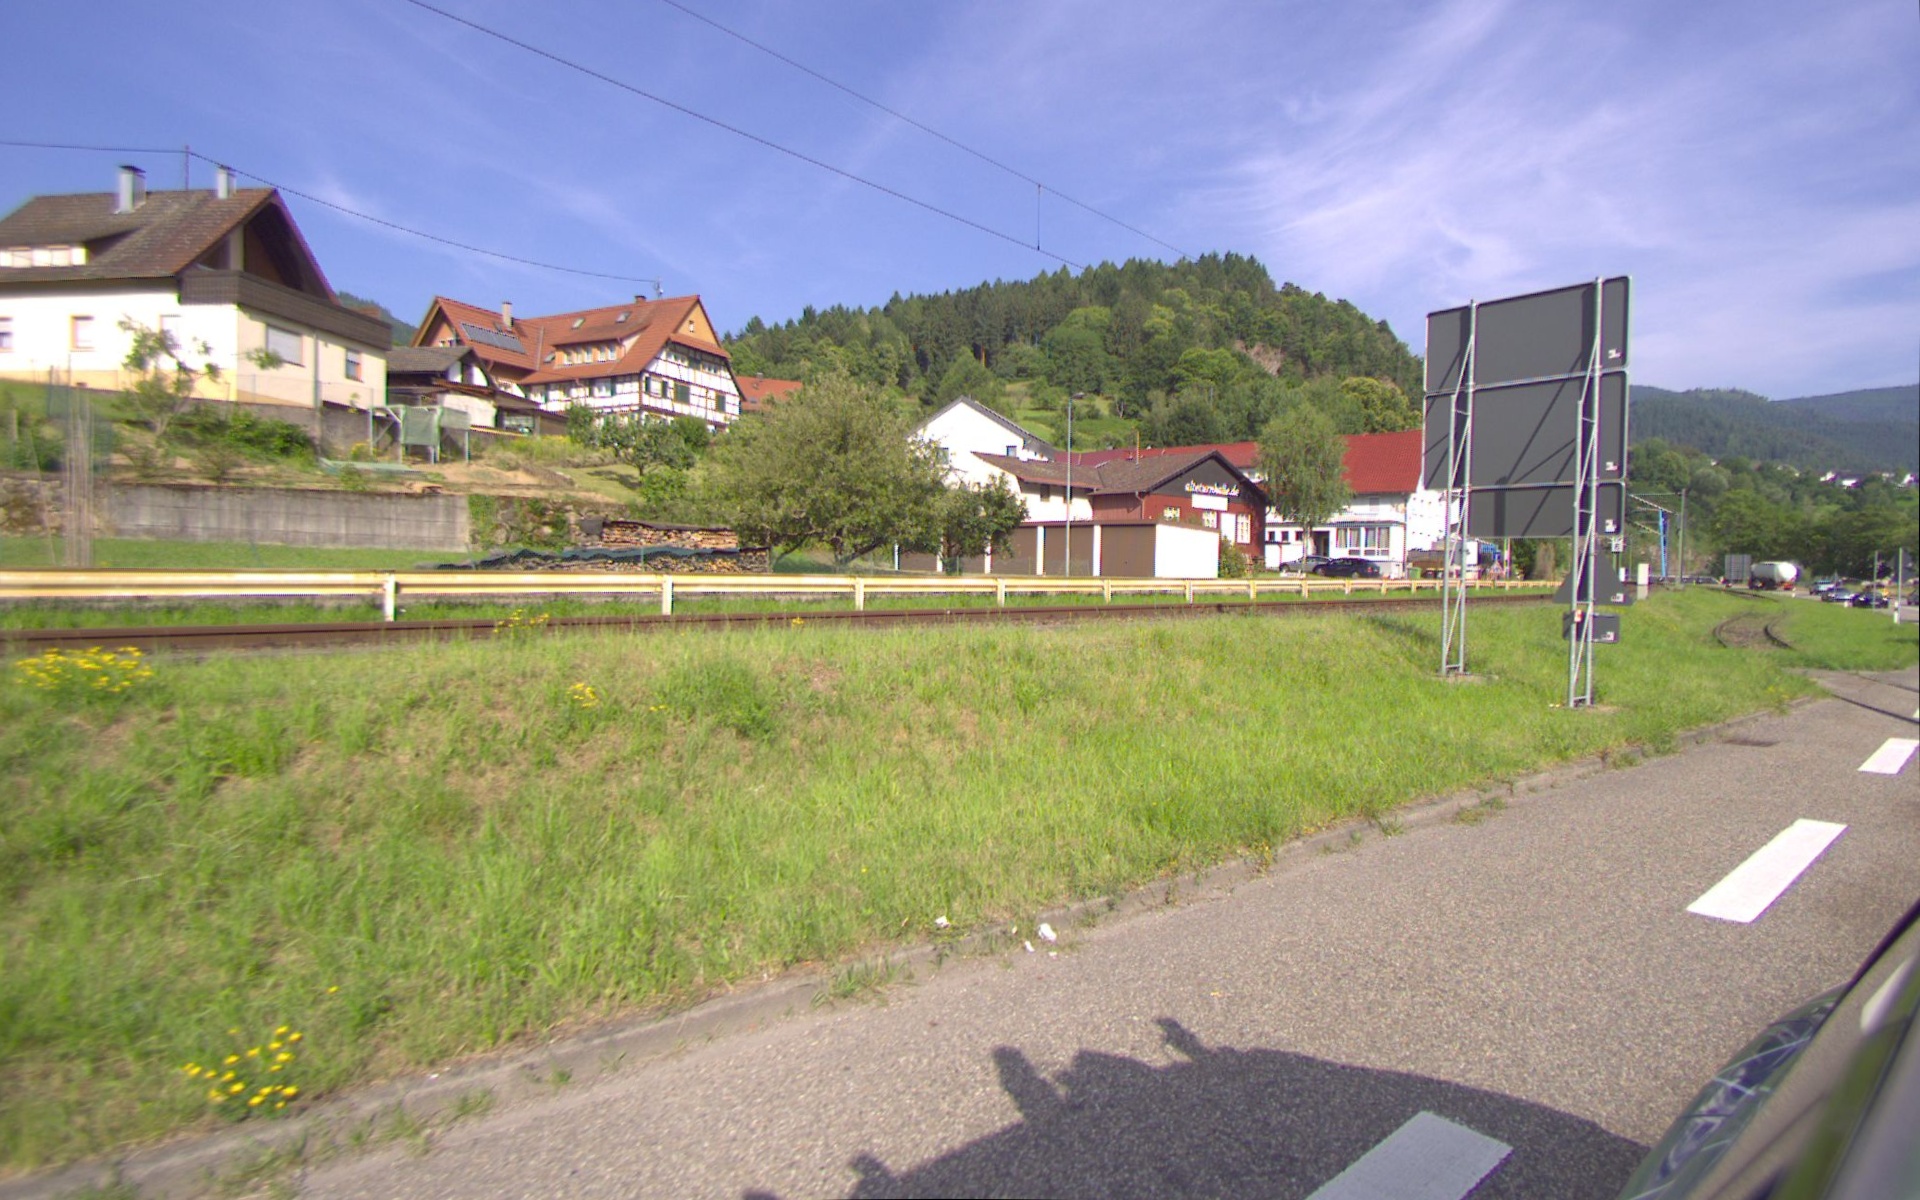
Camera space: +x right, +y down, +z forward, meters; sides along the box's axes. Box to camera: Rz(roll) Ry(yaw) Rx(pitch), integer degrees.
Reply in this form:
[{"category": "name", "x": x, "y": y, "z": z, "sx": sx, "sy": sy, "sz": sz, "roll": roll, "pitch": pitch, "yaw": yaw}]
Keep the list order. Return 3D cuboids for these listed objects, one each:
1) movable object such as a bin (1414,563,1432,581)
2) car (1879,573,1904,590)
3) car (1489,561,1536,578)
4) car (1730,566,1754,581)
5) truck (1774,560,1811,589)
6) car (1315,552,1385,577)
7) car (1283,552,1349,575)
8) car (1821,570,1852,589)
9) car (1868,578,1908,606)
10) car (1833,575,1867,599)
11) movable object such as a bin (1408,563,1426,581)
[{"category": "movable object such as a bin", "x": 28.404, "y": -1.707, "z": 62.084, "sx": 0.807, "sy": 1.063, "sz": 0.898, "roll": 0, "pitch": 0, "yaw": 42}, {"category": "car", "x": 92.567, "y": -1.814, "z": 100.600, "sx": 1.722, "sy": 1.645, "sz": 3.740, "roll": 1, "pitch": 1, "yaw": 41}, {"category": "car", "x": 56.419, "y": -3.104, "z": 103.364, "sx": 3.973, "sy": 1.548, "sz": 1.976, "roll": 4, "pitch": 3, "yaw": 33}, {"category": "car", "x": 113.769, "y": -3.876, "z": 147.271, "sx": 1.983, "sy": 2.038, "sz": 3.960, "roll": 4, "pitch": 3, "yaw": 29}, {"category": "truck", "x": 117.865, "y": -3.621, "z": 143.402, "sx": 2.741, "sy": 3.883, "sz": 14.381, "roll": 1, "pitch": 1, "yaw": 35}, {"category": "car", "x": 26.193, "y": -2.393, "z": 68.052, "sx": 3.990, "sy": 1.392, "sz": 1.796, "roll": 7, "pitch": 5, "yaw": 44}, {"category": "car", "x": 25.584, "y": -2.646, "z": 72.808, "sx": 3.988, "sy": 1.392, "sz": 1.798, "roll": 7, "pitch": 5, "yaw": 42}, {"category": "car", "x": 103.136, "y": -2.424, "z": 119.172, "sx": 1.985, "sy": 2.038, "sz": 3.956, "roll": 5, "pitch": 4, "yaw": 31}, {"category": "car", "x": 72.999, "y": -0.641, "z": 79.662, "sx": 1.992, "sy": 2.038, "sz": 3.943, "roll": 5, "pitch": 4, "yaw": 39}, {"category": "car", "x": 84.499, "y": -1.249, "z": 96.092, "sx": 1.990, "sy": 2.038, "sz": 3.947, "roll": 5, "pitch": 4, "yaw": 37}, {"category": "movable object such as a bin", "x": 27.657, "y": -1.714, "z": 61.222, "sx": 0.807, "sy": 1.063, "sz": 0.898, "roll": 0, "pitch": 0, "yaw": 42}]
